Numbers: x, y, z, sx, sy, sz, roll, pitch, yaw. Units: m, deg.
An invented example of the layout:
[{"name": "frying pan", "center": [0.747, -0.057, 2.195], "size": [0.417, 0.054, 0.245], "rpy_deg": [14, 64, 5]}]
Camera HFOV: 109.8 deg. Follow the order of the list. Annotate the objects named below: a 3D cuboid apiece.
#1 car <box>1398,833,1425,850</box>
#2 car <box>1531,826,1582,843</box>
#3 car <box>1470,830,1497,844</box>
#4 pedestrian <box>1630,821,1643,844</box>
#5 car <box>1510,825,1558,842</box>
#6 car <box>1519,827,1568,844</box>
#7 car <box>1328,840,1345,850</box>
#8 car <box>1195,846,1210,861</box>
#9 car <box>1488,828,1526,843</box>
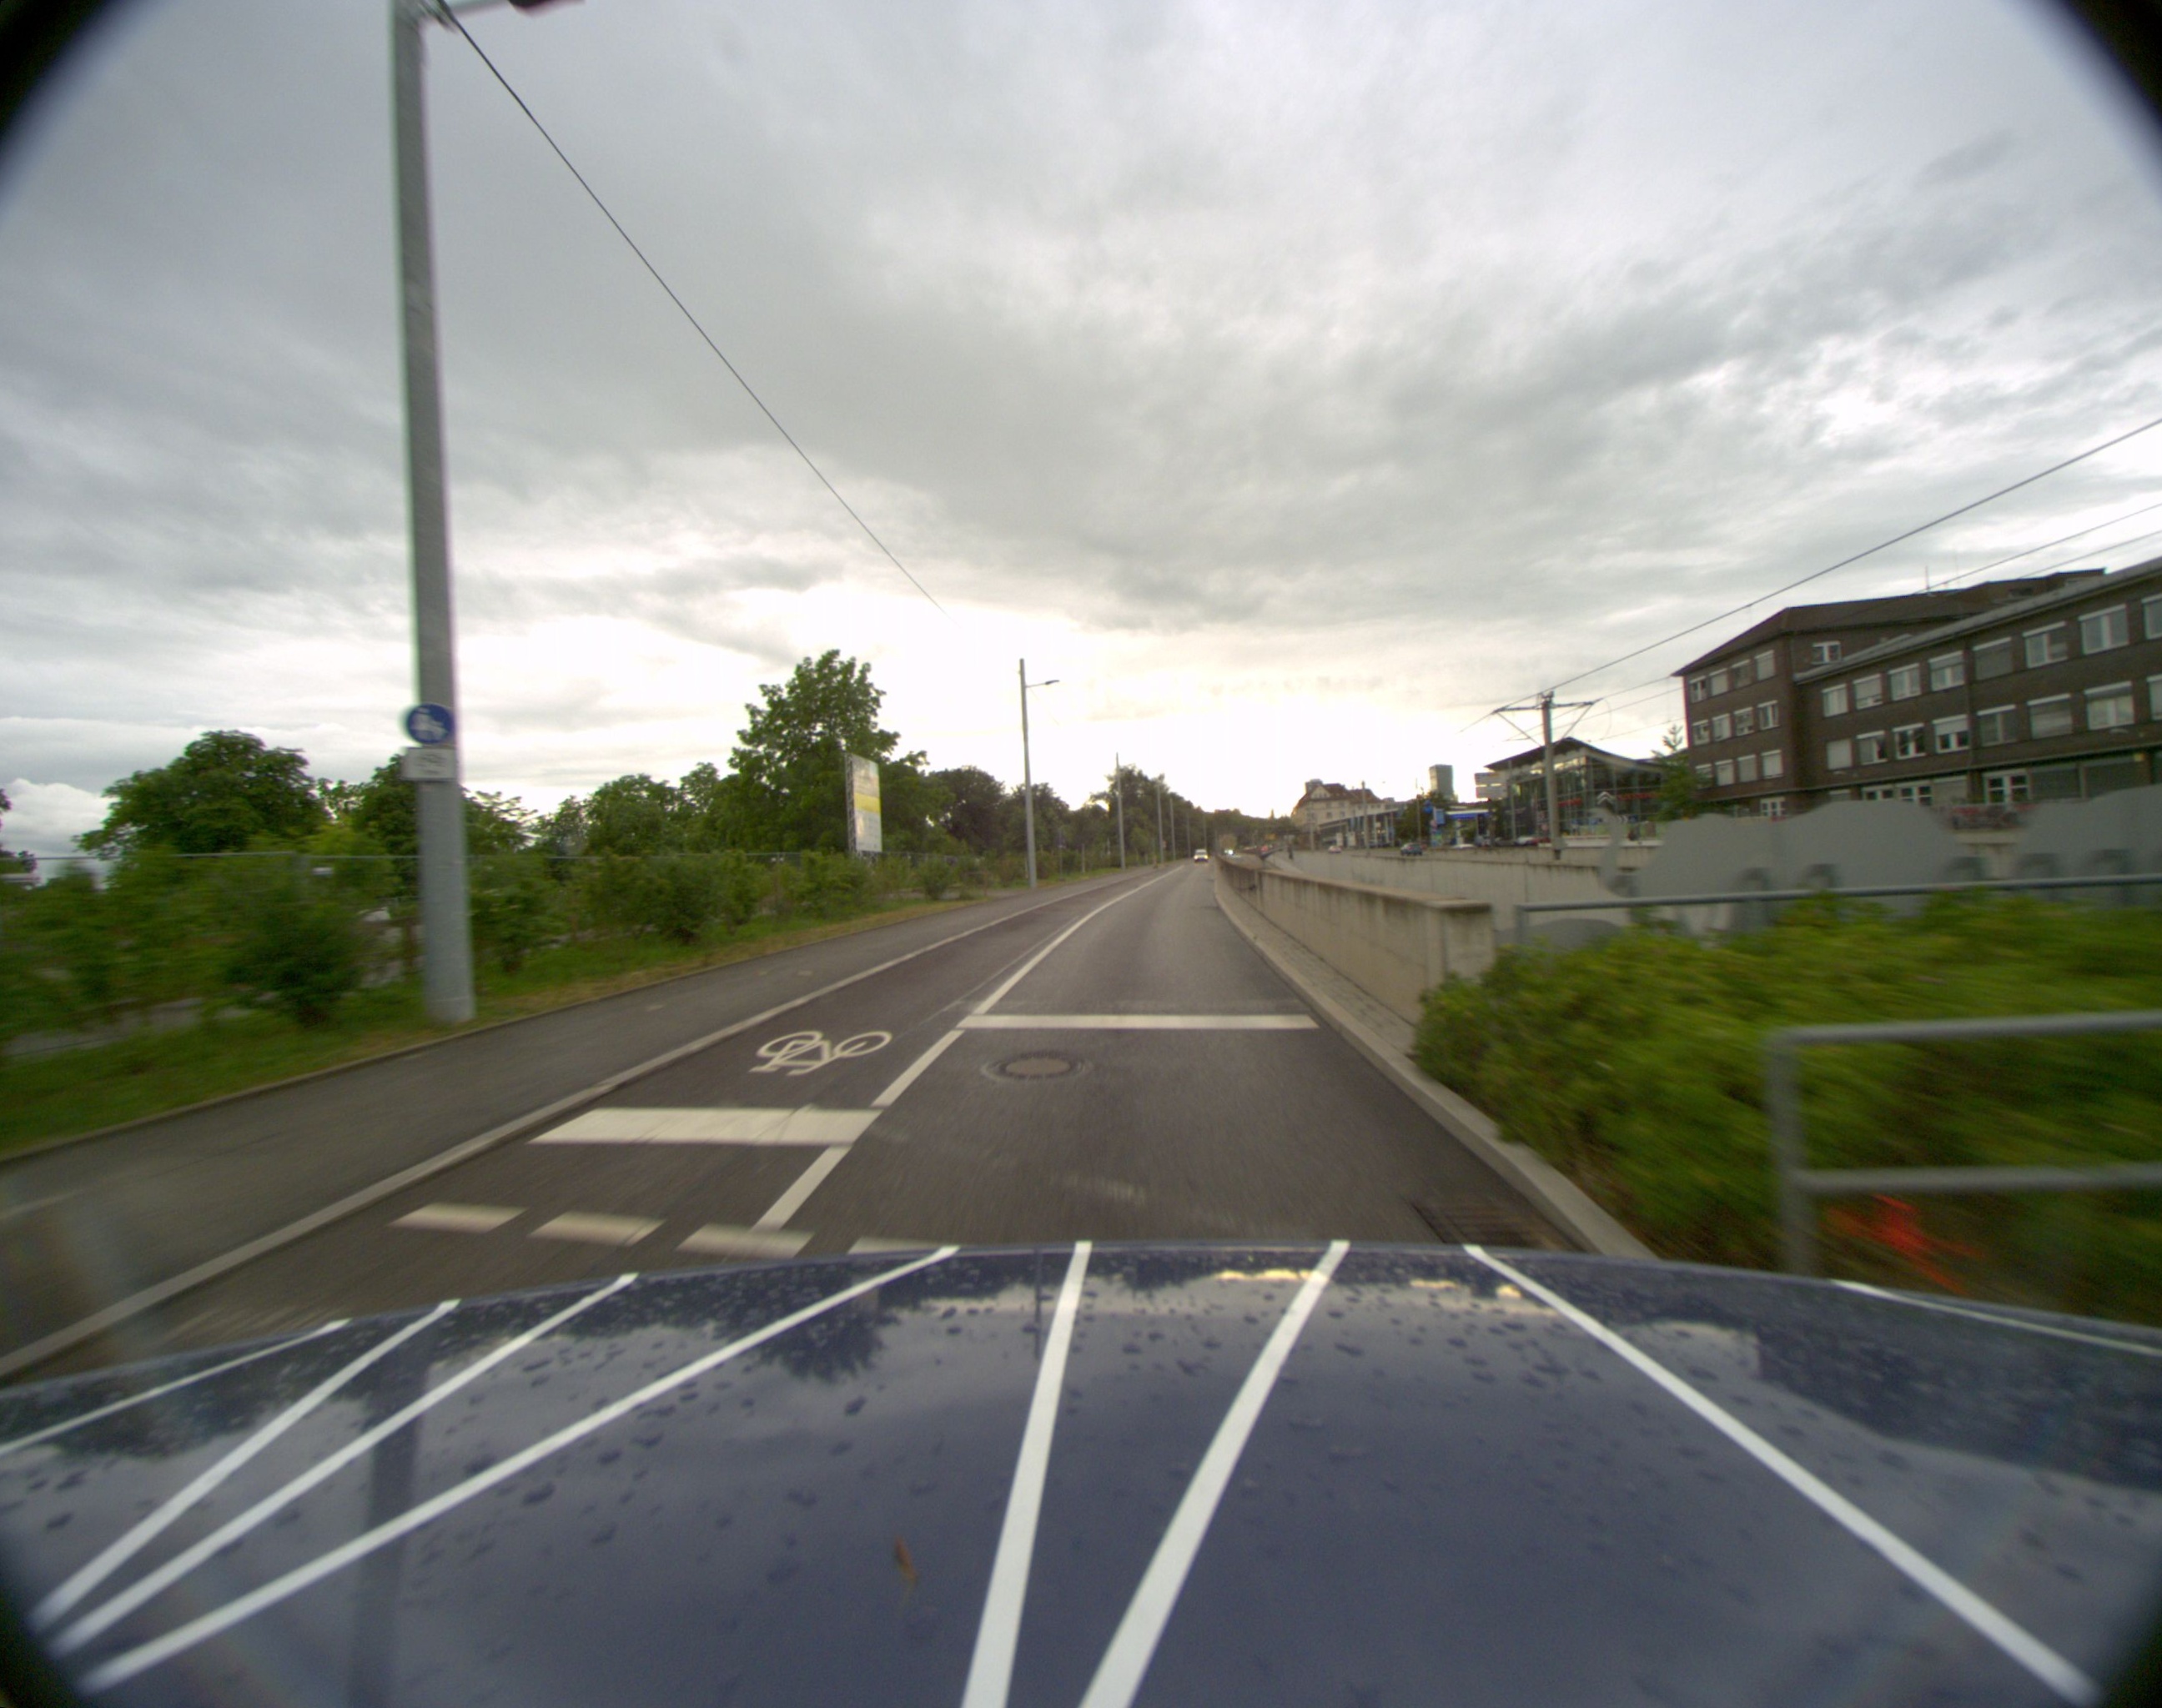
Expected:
[{"name": "car", "center": [41.100, -1.486, 94.655], "size": [1.997, 2.002, 4.002], "rpy_deg": [-2, 0, 6]}, {"name": "car", "center": [55.348, -2.290, 88.498], "size": [4.573, 1.750, 2.001], "rpy_deg": [-3, 0, 9]}, {"name": "car", "center": [56.470, -2.364, 106.676], "size": [1.997, 1.761, 4.002], "rpy_deg": [-3, 0, 8]}, {"name": "pedestrian", "center": [47.419, -1.833, 64.835], "size": [0.581, 2.002, 0.728], "rpy_deg": [-3, 2, -27]}, {"name": "car", "center": [55.837, -2.523, 93.757], "size": [4.573, 1.750, 2.001], "rpy_deg": [-3, 0, 9]}, {"name": "car", "center": [55.451, -2.229, 91.235], "size": [4.573, 1.750, 2.001], "rpy_deg": [-3, 0, 9]}, {"name": "car", "center": [50.356, -1.791, 149.869], "size": [2.118, 1.706, 4.582], "rpy_deg": [-3, 0, 7]}, {"name": "car", "center": [17.255, -0.103, 107.960], "size": [1.997, 2.002, 4.003], "rpy_deg": [-1, 0, 10]}, {"name": "car", "center": [56.886, -2.490, 101.463], "size": [3.994, 1.761, 2.001], "rpy_deg": [-3, 0, 10]}]
